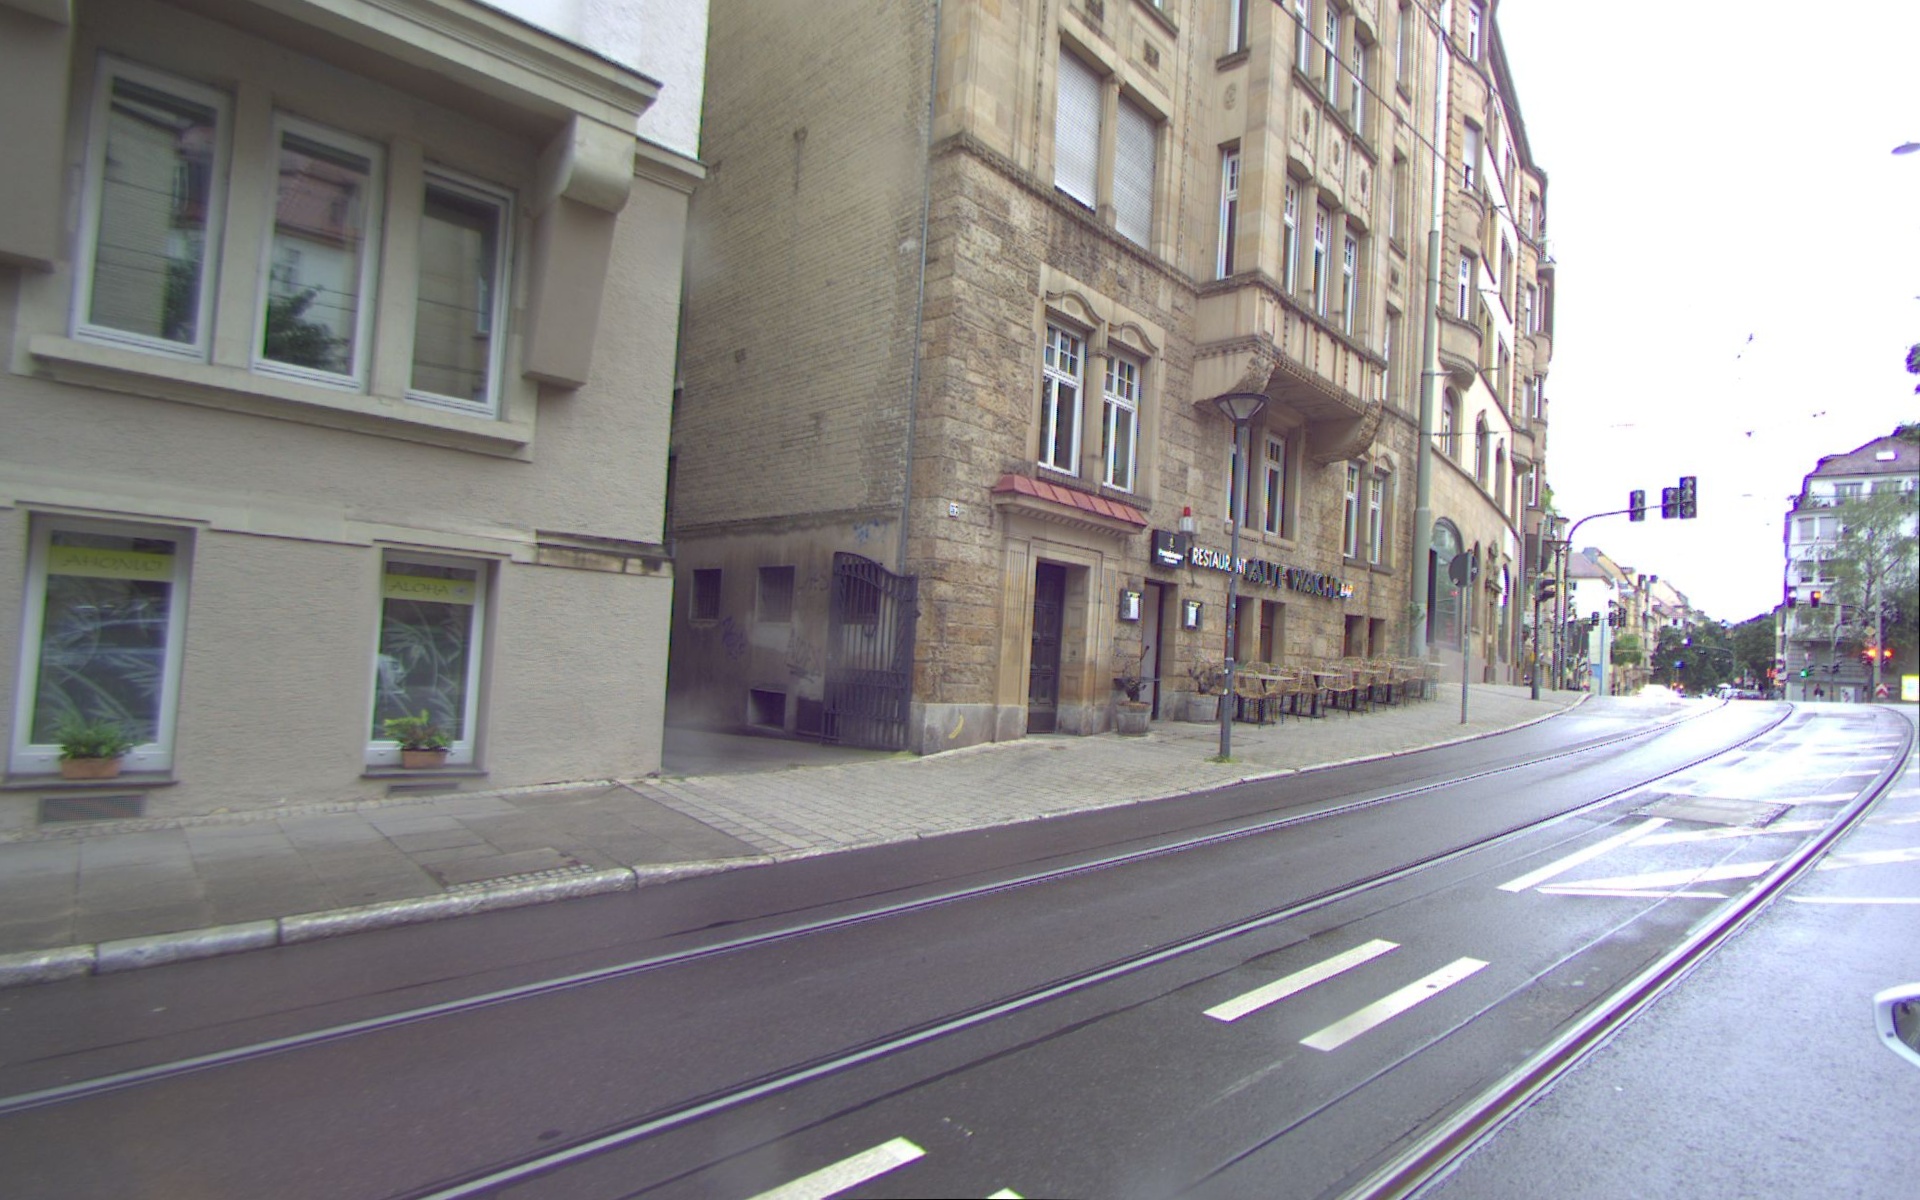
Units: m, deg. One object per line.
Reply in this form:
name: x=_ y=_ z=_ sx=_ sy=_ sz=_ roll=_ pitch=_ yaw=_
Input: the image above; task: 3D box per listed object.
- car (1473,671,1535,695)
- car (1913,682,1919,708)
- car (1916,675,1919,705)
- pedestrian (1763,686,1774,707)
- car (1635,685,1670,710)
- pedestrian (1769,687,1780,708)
car: x=40.327 y=6.153 z=74.423 sx=3.932 sy=1.530 sz=1.795 roll=0 pitch=-2 yaw=33
car: x=62.755 y=6.043 z=63.456 sx=3.930 sy=1.635 sz=1.796 roll=1 pitch=-2 yaw=-12
car: x=51.152 y=4.603 z=51.702 sx=3.955 sy=1.530 sz=1.786 roll=2 pitch=-4 yaw=-31
pedestrian: x=67.147 y=8.032 z=83.411 sx=0.640 sy=1.683 sz=0.647 roll=1 pitch=-1 yaw=40
car: x=51.640 y=7.247 z=74.937 sx=1.768 sy=1.530 sz=4.657 roll=-1 pitch=-2 yaw=30
pedestrian: x=65.453 y=7.831 z=80.703 sx=0.640 sy=1.683 sz=0.647 roll=1 pitch=-1 yaw=40
